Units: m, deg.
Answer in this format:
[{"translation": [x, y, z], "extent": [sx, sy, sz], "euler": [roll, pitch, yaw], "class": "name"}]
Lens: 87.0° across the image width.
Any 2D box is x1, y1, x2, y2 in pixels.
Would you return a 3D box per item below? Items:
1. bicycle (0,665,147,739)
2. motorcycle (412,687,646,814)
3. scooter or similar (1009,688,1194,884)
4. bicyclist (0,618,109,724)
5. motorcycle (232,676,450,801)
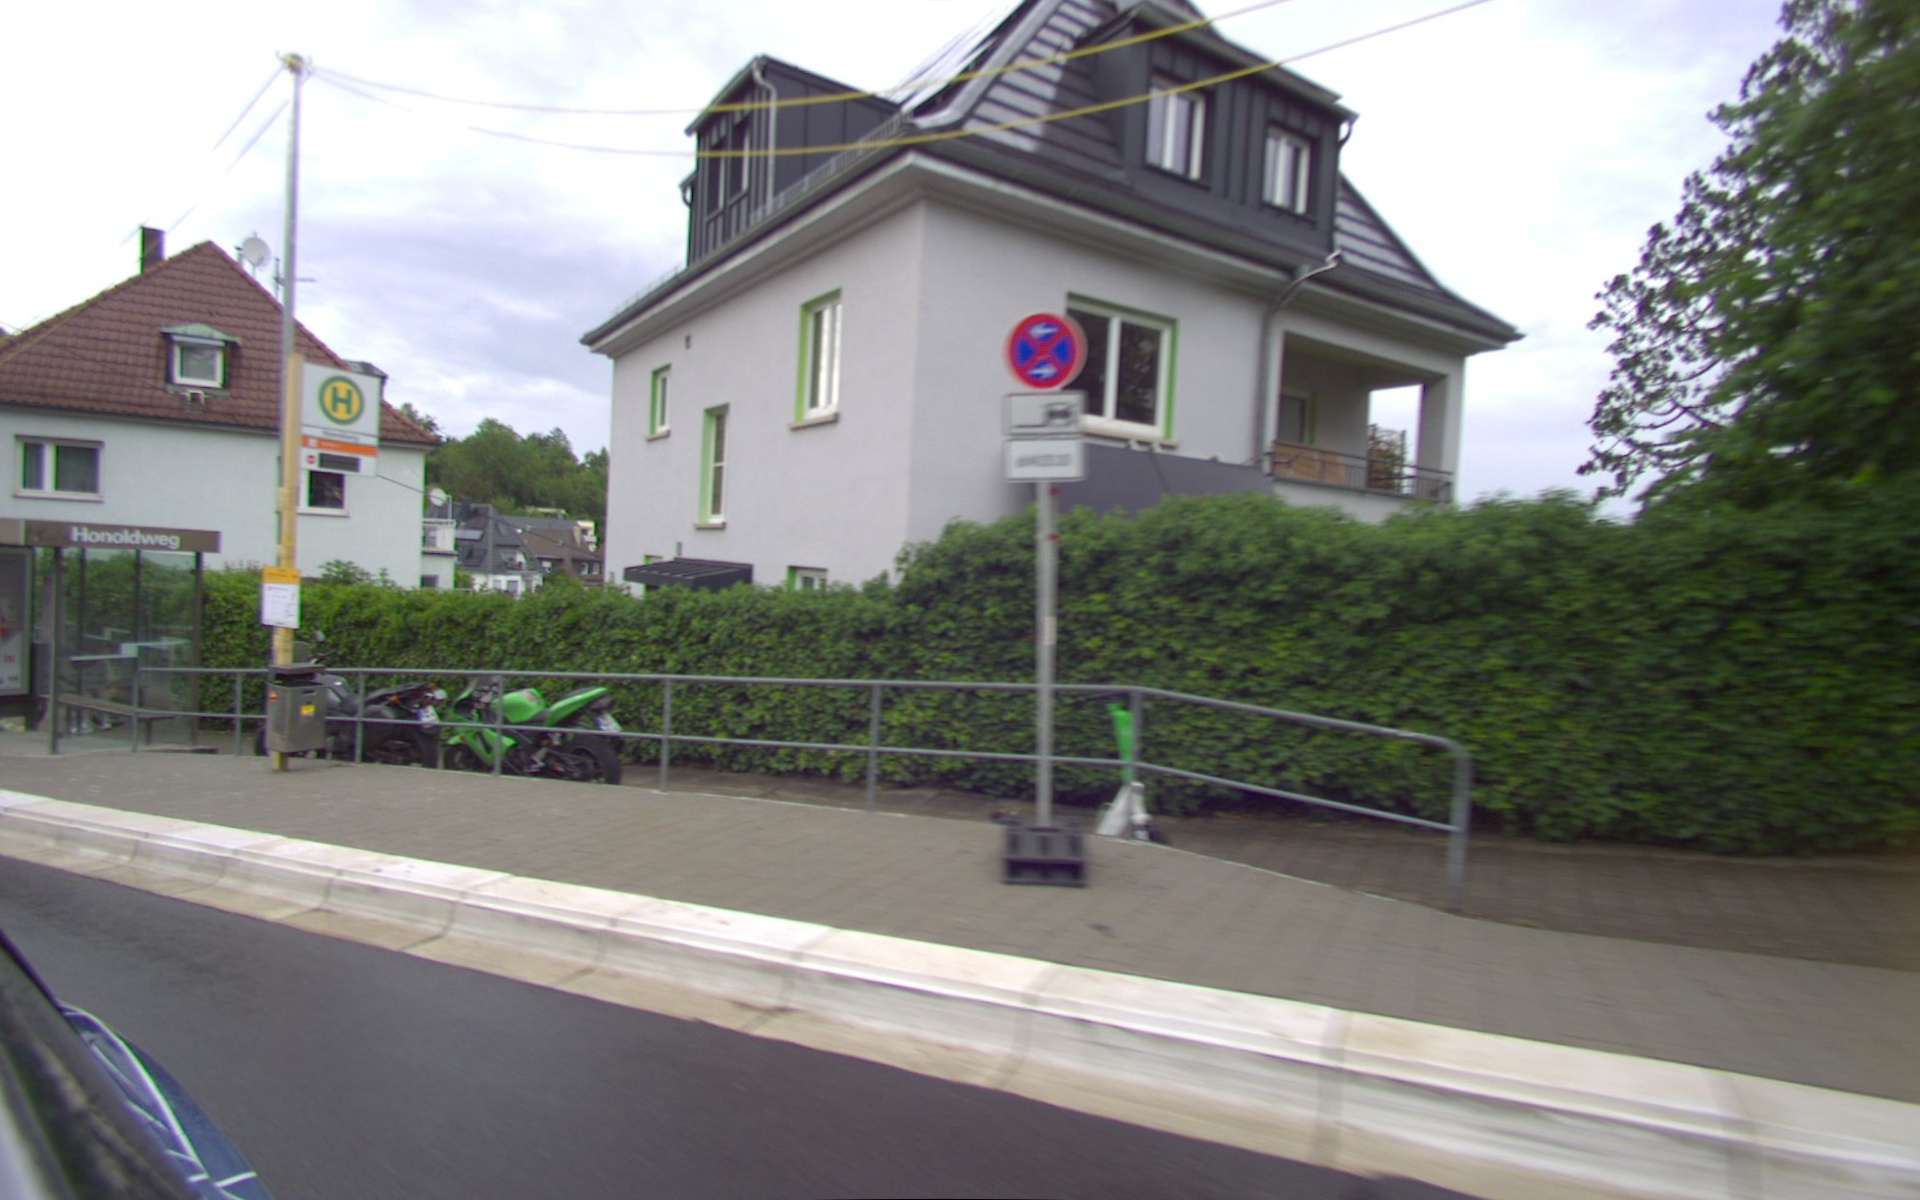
[{"translation": [-13.034, 1.439, 14.530], "extent": [1.094, 0.939, 1.855], "euler": [0, -2, 34], "class": "bicycle"}, {"translation": [-3.749, 1.260, 8.780], "extent": [1.997, 0.941, 0.663], "euler": [-1, -3, 23], "class": "motorcycle"}, {"translation": [0.872, 1.114, 6.277], "extent": [1.089, 1.089, 0.322], "euler": [0, -3, 24], "class": "scooter or similar"}, {"translation": [-13.020, 0.995, 14.550], "extent": [1.094, 1.450, 0.898], "euler": [0, -2, 34], "class": "bicyclist"}, {"translation": [-5.972, 1.288, 9.746], "extent": [2.138, 1.044, 0.663], "euler": [-1, -3, 23], "class": "motorcycle"}]
